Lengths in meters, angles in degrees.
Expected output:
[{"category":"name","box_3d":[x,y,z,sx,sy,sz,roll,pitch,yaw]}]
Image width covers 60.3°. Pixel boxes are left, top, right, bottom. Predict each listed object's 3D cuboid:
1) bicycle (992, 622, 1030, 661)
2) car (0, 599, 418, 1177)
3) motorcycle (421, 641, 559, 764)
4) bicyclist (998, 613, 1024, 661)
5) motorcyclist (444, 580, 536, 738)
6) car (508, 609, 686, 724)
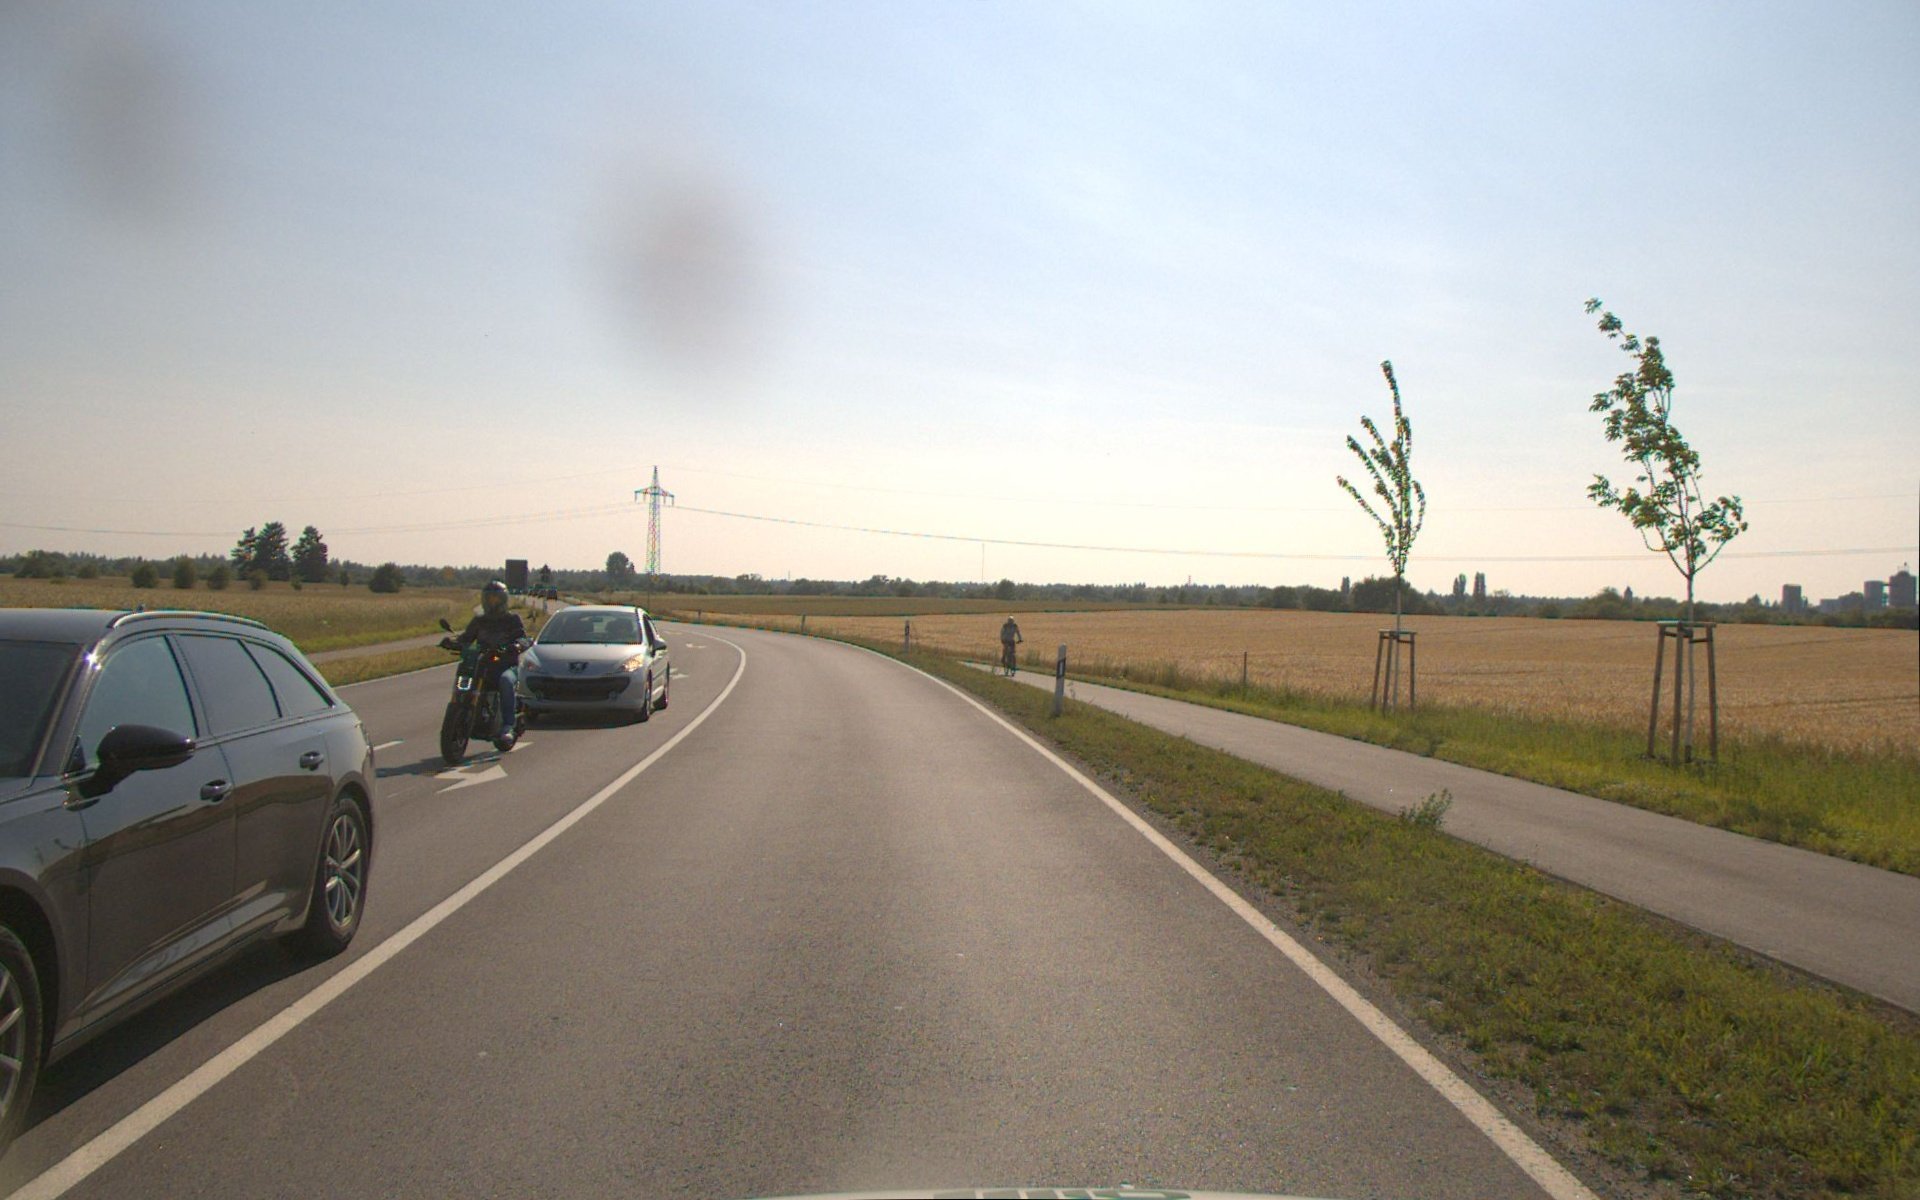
[{"category":"bicycle","box_3d":[1.606,1.305,52.568,0.829,1.162,2.202,3,-1,-8]},{"category":"car","box_3d":[-3.412,0.725,5.481,1.852,1.461,4.794,1,0,-3]},{"category":"motorcycle","box_3d":[-4.639,0.984,16.461,0.853,1.092,1.968,1,0,-2]},{"category":"bicyclist","box_3d":[1.614,1.167,52.665,0.625,1.482,0.815,3,-1,-8]},{"category":"motorcyclist","box_3d":[-4.636,0.568,16.352,0.664,1.521,0.846,1,0,-2]},{"category":"car","box_3d":[-4.864,0.836,22.658,1.652,1.428,3.999,0,0,-2]}]
